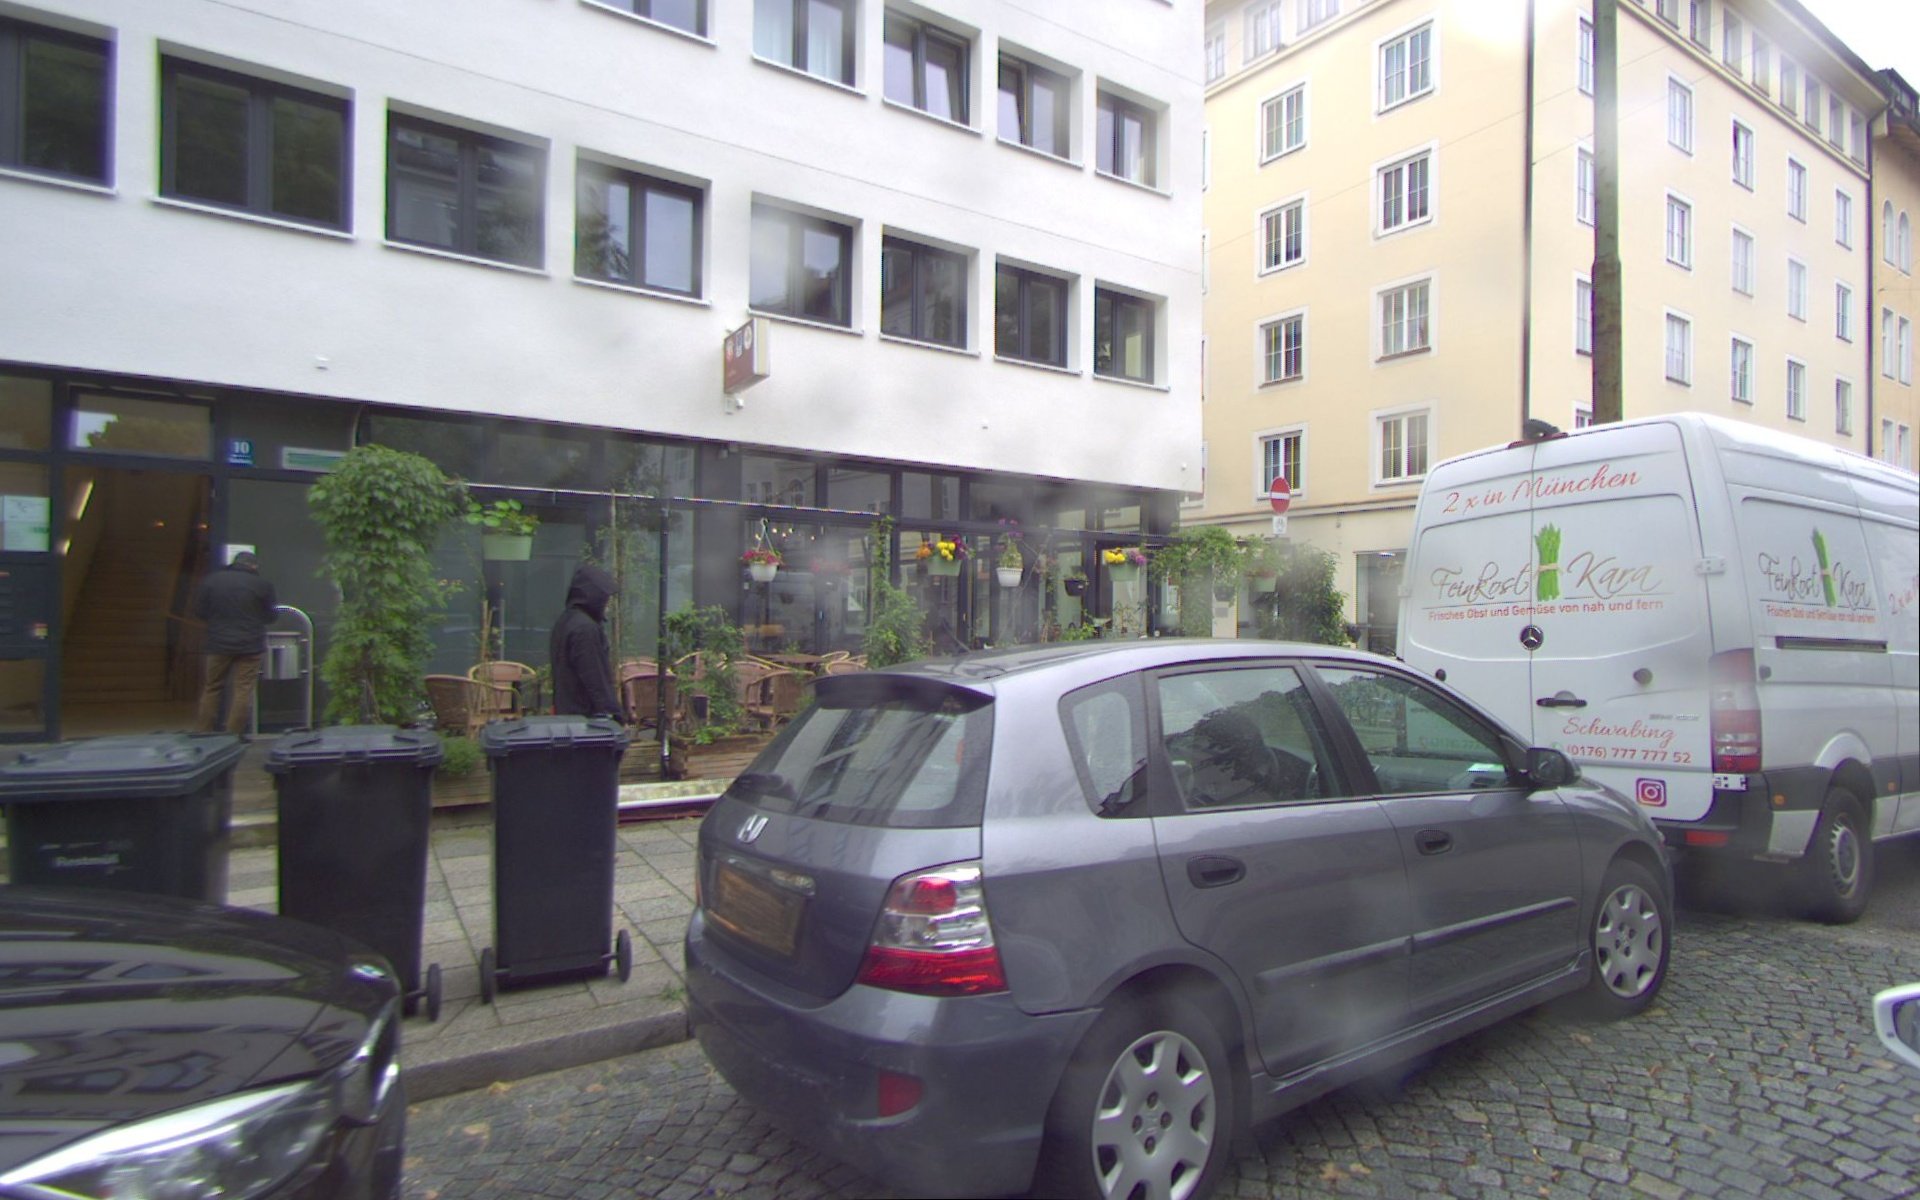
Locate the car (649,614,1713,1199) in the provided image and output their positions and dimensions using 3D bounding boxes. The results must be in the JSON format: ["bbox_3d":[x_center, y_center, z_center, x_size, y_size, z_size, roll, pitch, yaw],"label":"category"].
[{"bbox_3d":[1.050,0.842,3.778,3.940,1.502,1.651,2,-1,-34],"label":"car"}]

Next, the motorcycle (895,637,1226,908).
[{"bbox_3d":[0.660,0.929,6.080,2.038,1.387,0.669,1,-1,-35],"label":"motorcycle"}]

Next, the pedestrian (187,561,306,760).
[{"bbox_3d":[-6.295,0.501,8.897,0.774,1.683,0.552,-1,2,-30],"label":"pedestrian"}]

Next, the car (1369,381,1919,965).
[{"bbox_3d":[5.488,0.415,6.828,5.727,2.607,1.967,1,-3,-31],"label":"car"}]

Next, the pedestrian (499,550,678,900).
[{"bbox_3d":[-2.162,0.676,5.859,0.807,1.864,0.608,1,-1,-39],"label":"pedestrian"}]

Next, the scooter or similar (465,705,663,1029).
[{"bbox_3d":[-1.626,1.022,4.105,0.621,1.108,0.603,1,-1,-34],"label":"scooter or similar"}]

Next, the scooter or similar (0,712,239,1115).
[{"bbox_3d":[-2.805,0.969,3.346,0.619,1.108,0.603,1,-1,-34],"label":"scooter or similar"}]

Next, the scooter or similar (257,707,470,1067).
[{"bbox_3d":[-2.224,0.993,3.745,0.620,1.108,0.603,1,-1,-34],"label":"scooter or similar"}]

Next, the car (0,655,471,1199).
[{"bbox_3d":[-3.042,0.832,1.038,4.423,1.484,1.717,1,-3,-32],"label":"car"}]
